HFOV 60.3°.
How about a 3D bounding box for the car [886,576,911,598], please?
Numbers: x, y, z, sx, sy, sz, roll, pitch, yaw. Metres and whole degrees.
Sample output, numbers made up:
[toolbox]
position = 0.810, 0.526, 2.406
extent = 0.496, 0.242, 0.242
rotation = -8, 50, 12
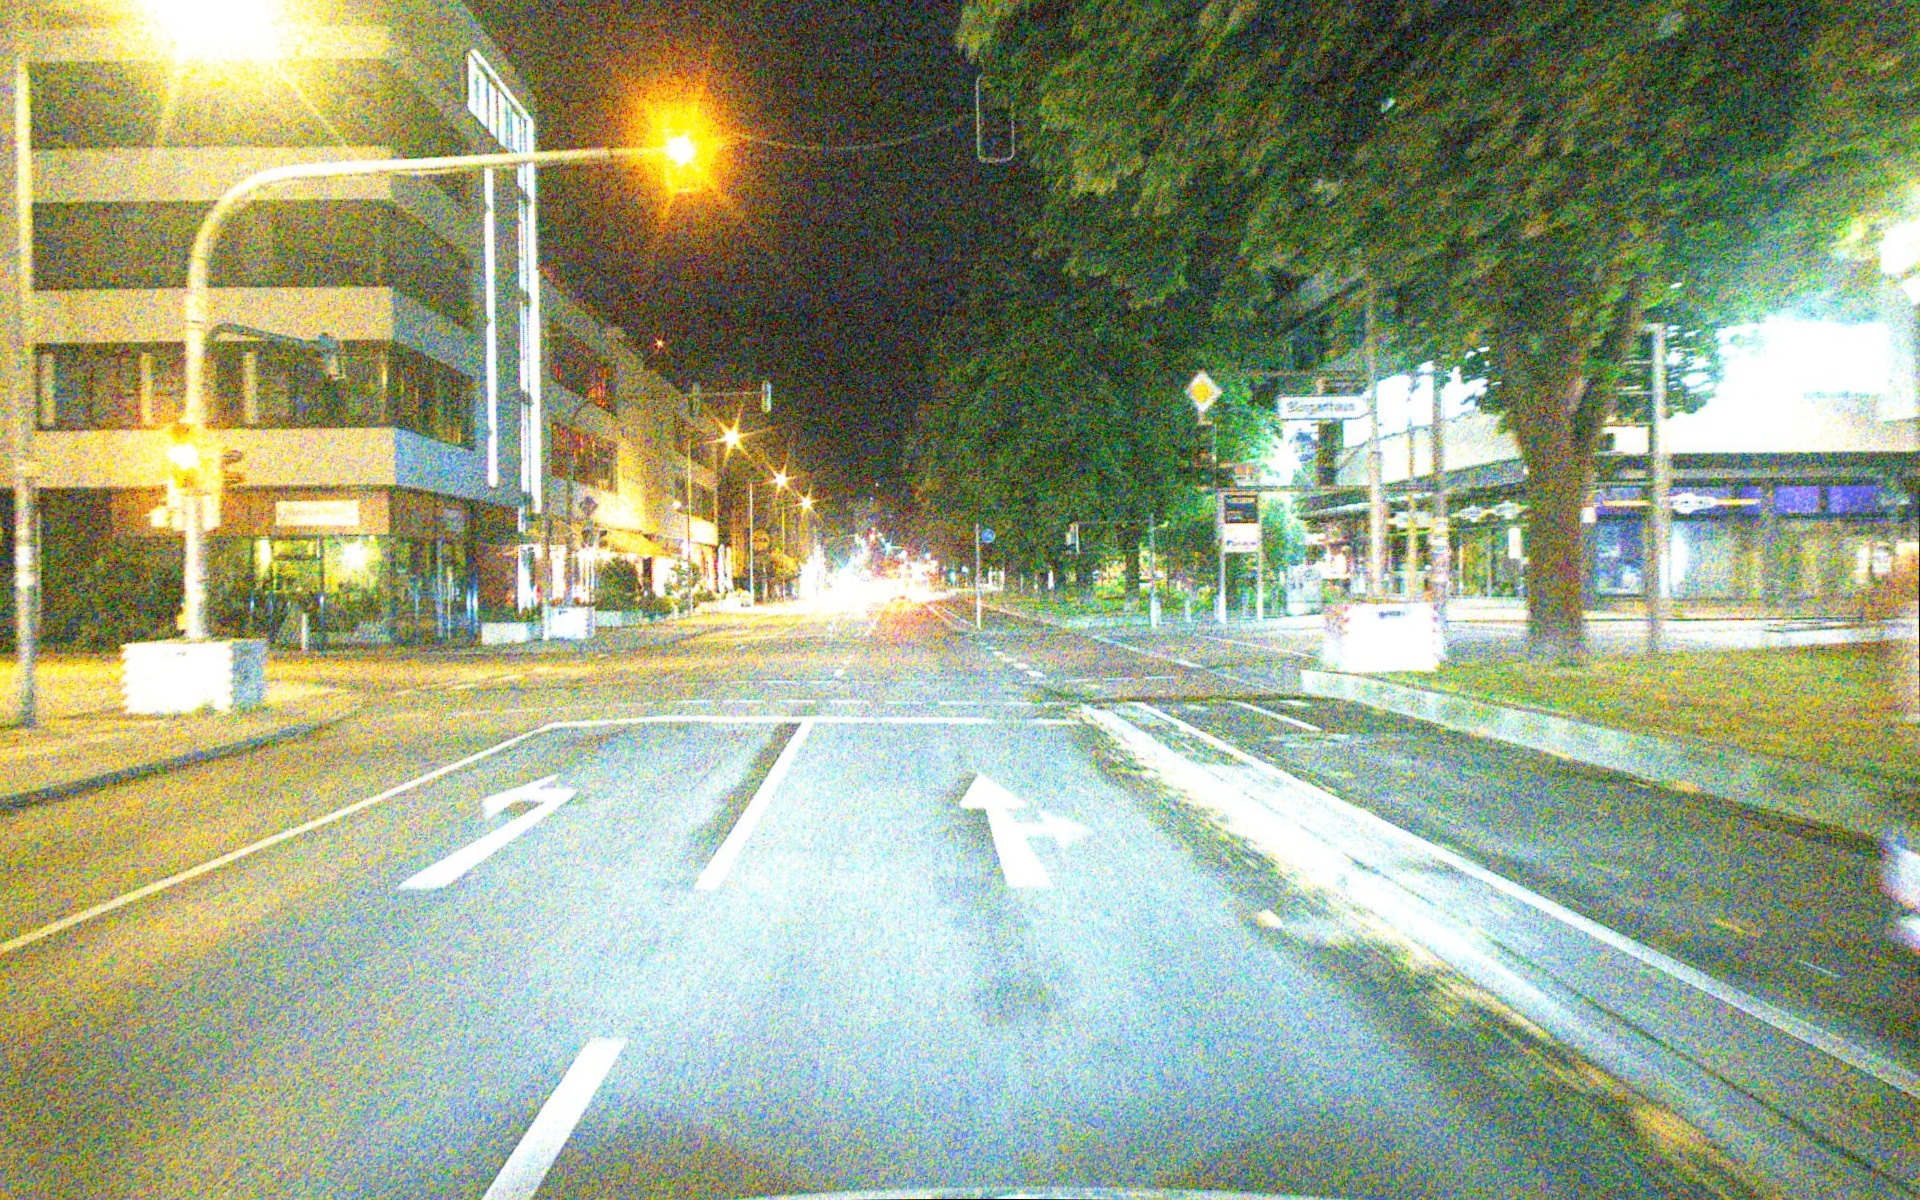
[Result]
[car]
position = -5.032, -1.058, 135.983
extent = 1.954, 1.672, 3.998
rotation = -2, 1, -2

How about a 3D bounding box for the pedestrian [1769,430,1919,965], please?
[pedestrian]
position = 3.637, 0.326, 6.131
extent = 0.688, 1.850, 1.081
rotation = -2, 1, -2
